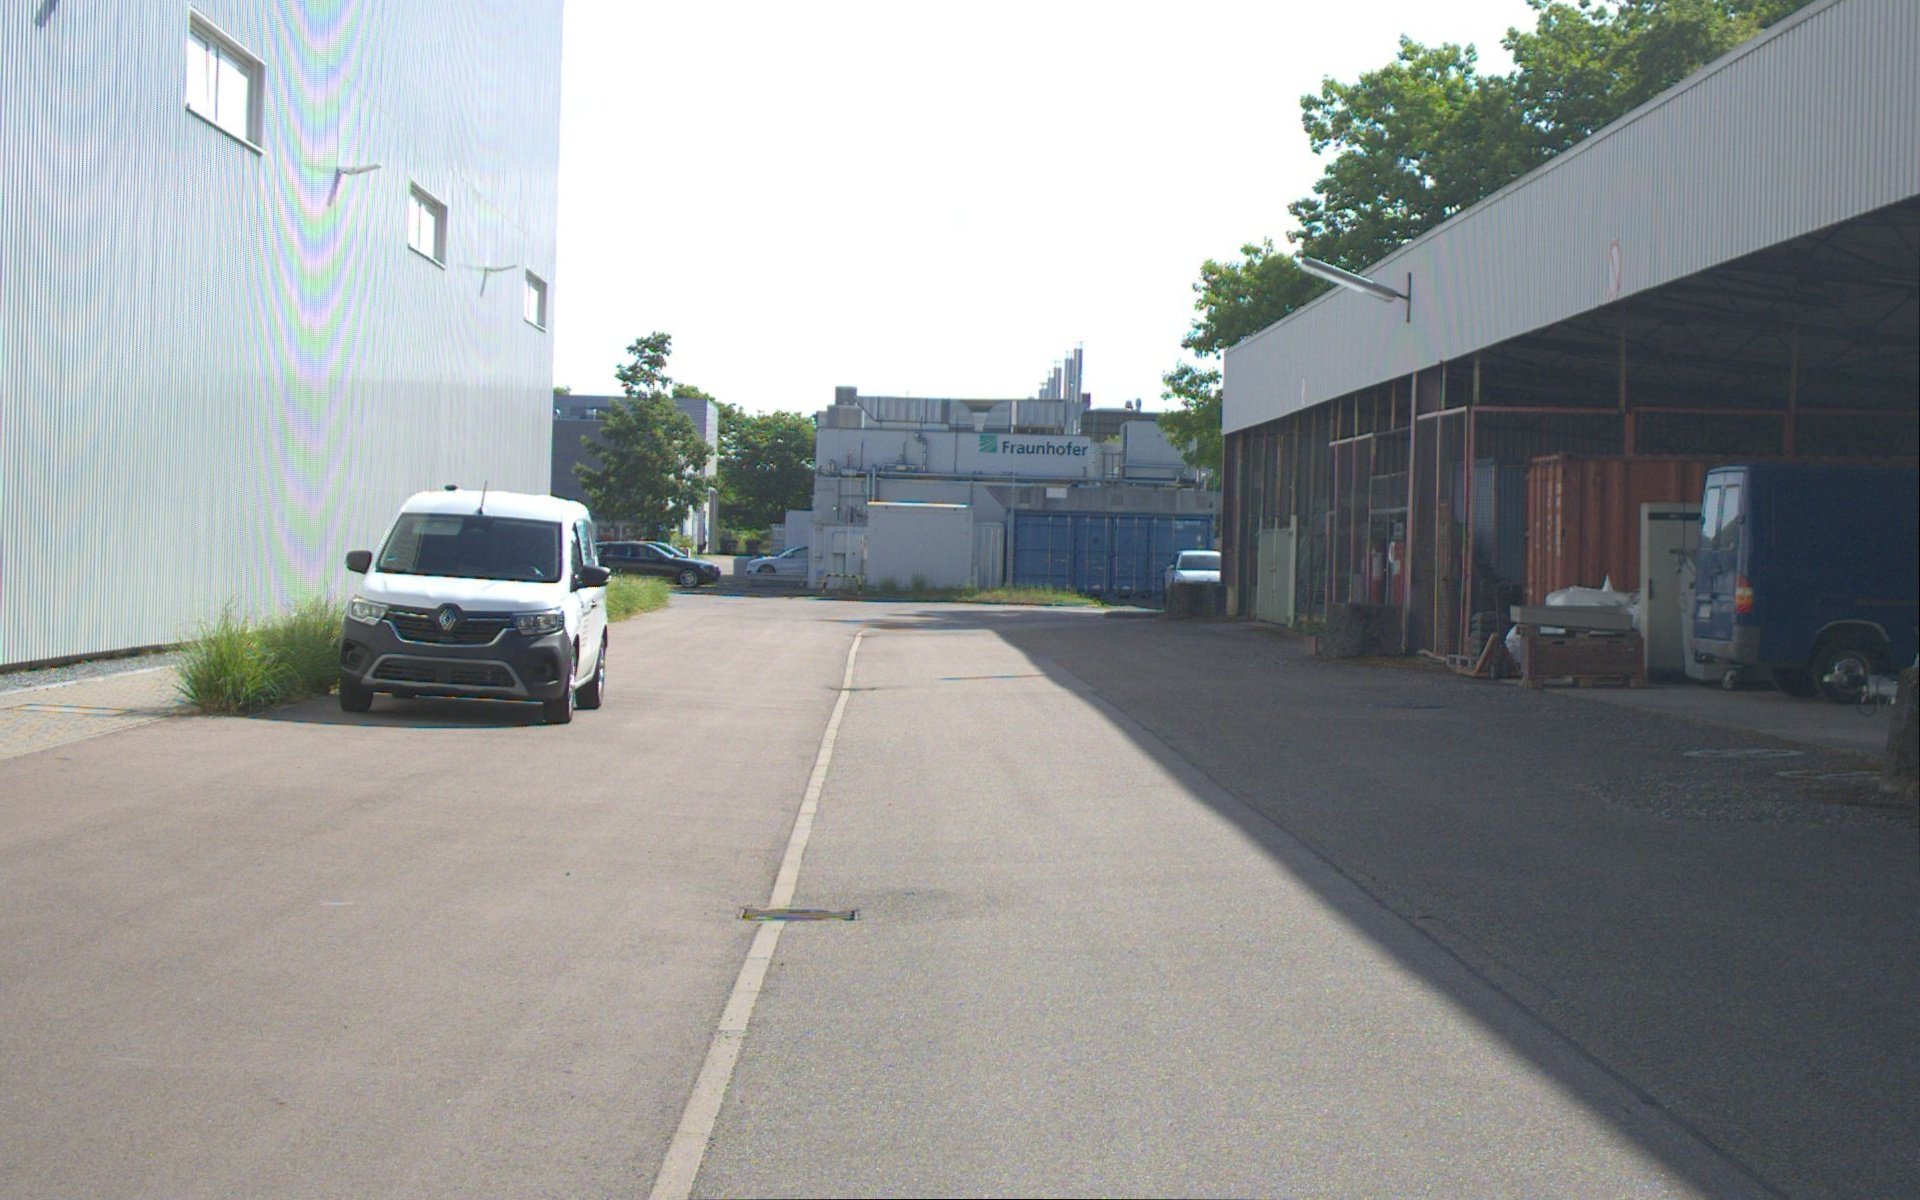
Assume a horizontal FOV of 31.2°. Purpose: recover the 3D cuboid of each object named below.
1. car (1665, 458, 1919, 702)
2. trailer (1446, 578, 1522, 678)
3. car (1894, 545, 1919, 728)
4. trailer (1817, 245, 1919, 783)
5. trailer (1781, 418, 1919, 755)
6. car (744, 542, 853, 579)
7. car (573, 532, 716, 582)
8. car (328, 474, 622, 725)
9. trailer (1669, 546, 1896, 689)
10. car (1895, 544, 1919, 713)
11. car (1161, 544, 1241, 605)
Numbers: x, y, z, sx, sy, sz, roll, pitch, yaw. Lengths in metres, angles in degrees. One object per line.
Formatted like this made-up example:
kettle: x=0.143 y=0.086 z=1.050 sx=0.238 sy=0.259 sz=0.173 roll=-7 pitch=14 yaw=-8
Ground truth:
car: x=9.828 y=-0.169 z=33.671 sx=5.332 sy=2.273 sz=2.153 roll=1 pitch=0 yaw=-2
trailer: x=5.986 y=0.311 z=39.350 sx=0.551 sy=1.114 sz=1.547 roll=0 pitch=0 yaw=-3
car: x=9.865 y=0.337 z=27.437 sx=4.247 sy=1.466 sz=1.870 roll=1 pitch=1 yaw=-4
trailer: x=11.077 y=-0.540 z=22.386 sx=10.267 sy=3.331 sz=2.801 roll=0 pitch=1 yaw=0
trailer: x=8.447 y=-0.097 z=24.856 sx=4.516 sy=2.334 sz=2.047 roll=0 pitch=0 yaw=0
car: x=-6.472 y=-1.598 z=138.108 sx=4.302 sy=1.452 sz=1.824 roll=0 pitch=0 yaw=-1
car: x=-10.097 y=-1.374 z=110.161 sx=4.447 sy=1.526 sz=1.824 roll=0 pitch=0 yaw=-1
car: x=-3.890 y=-0.021 z=28.286 sx=1.783 sy=1.809 sz=4.602 roll=3 pitch=0 yaw=-1
trailer: x=8.643 y=0.168 z=36.273 sx=2.038 sy=1.461 sz=1.738 roll=0 pitch=1 yaw=3
car: x=10.569 y=0.287 z=30.532 sx=3.963 sy=1.509 sz=1.840 roll=1 pitch=0 yaw=-4
car: x=6.842 y=-0.753 z=97.934 sx=1.979 sy=1.597 sz=4.377 roll=0 pitch=2 yaw=0
